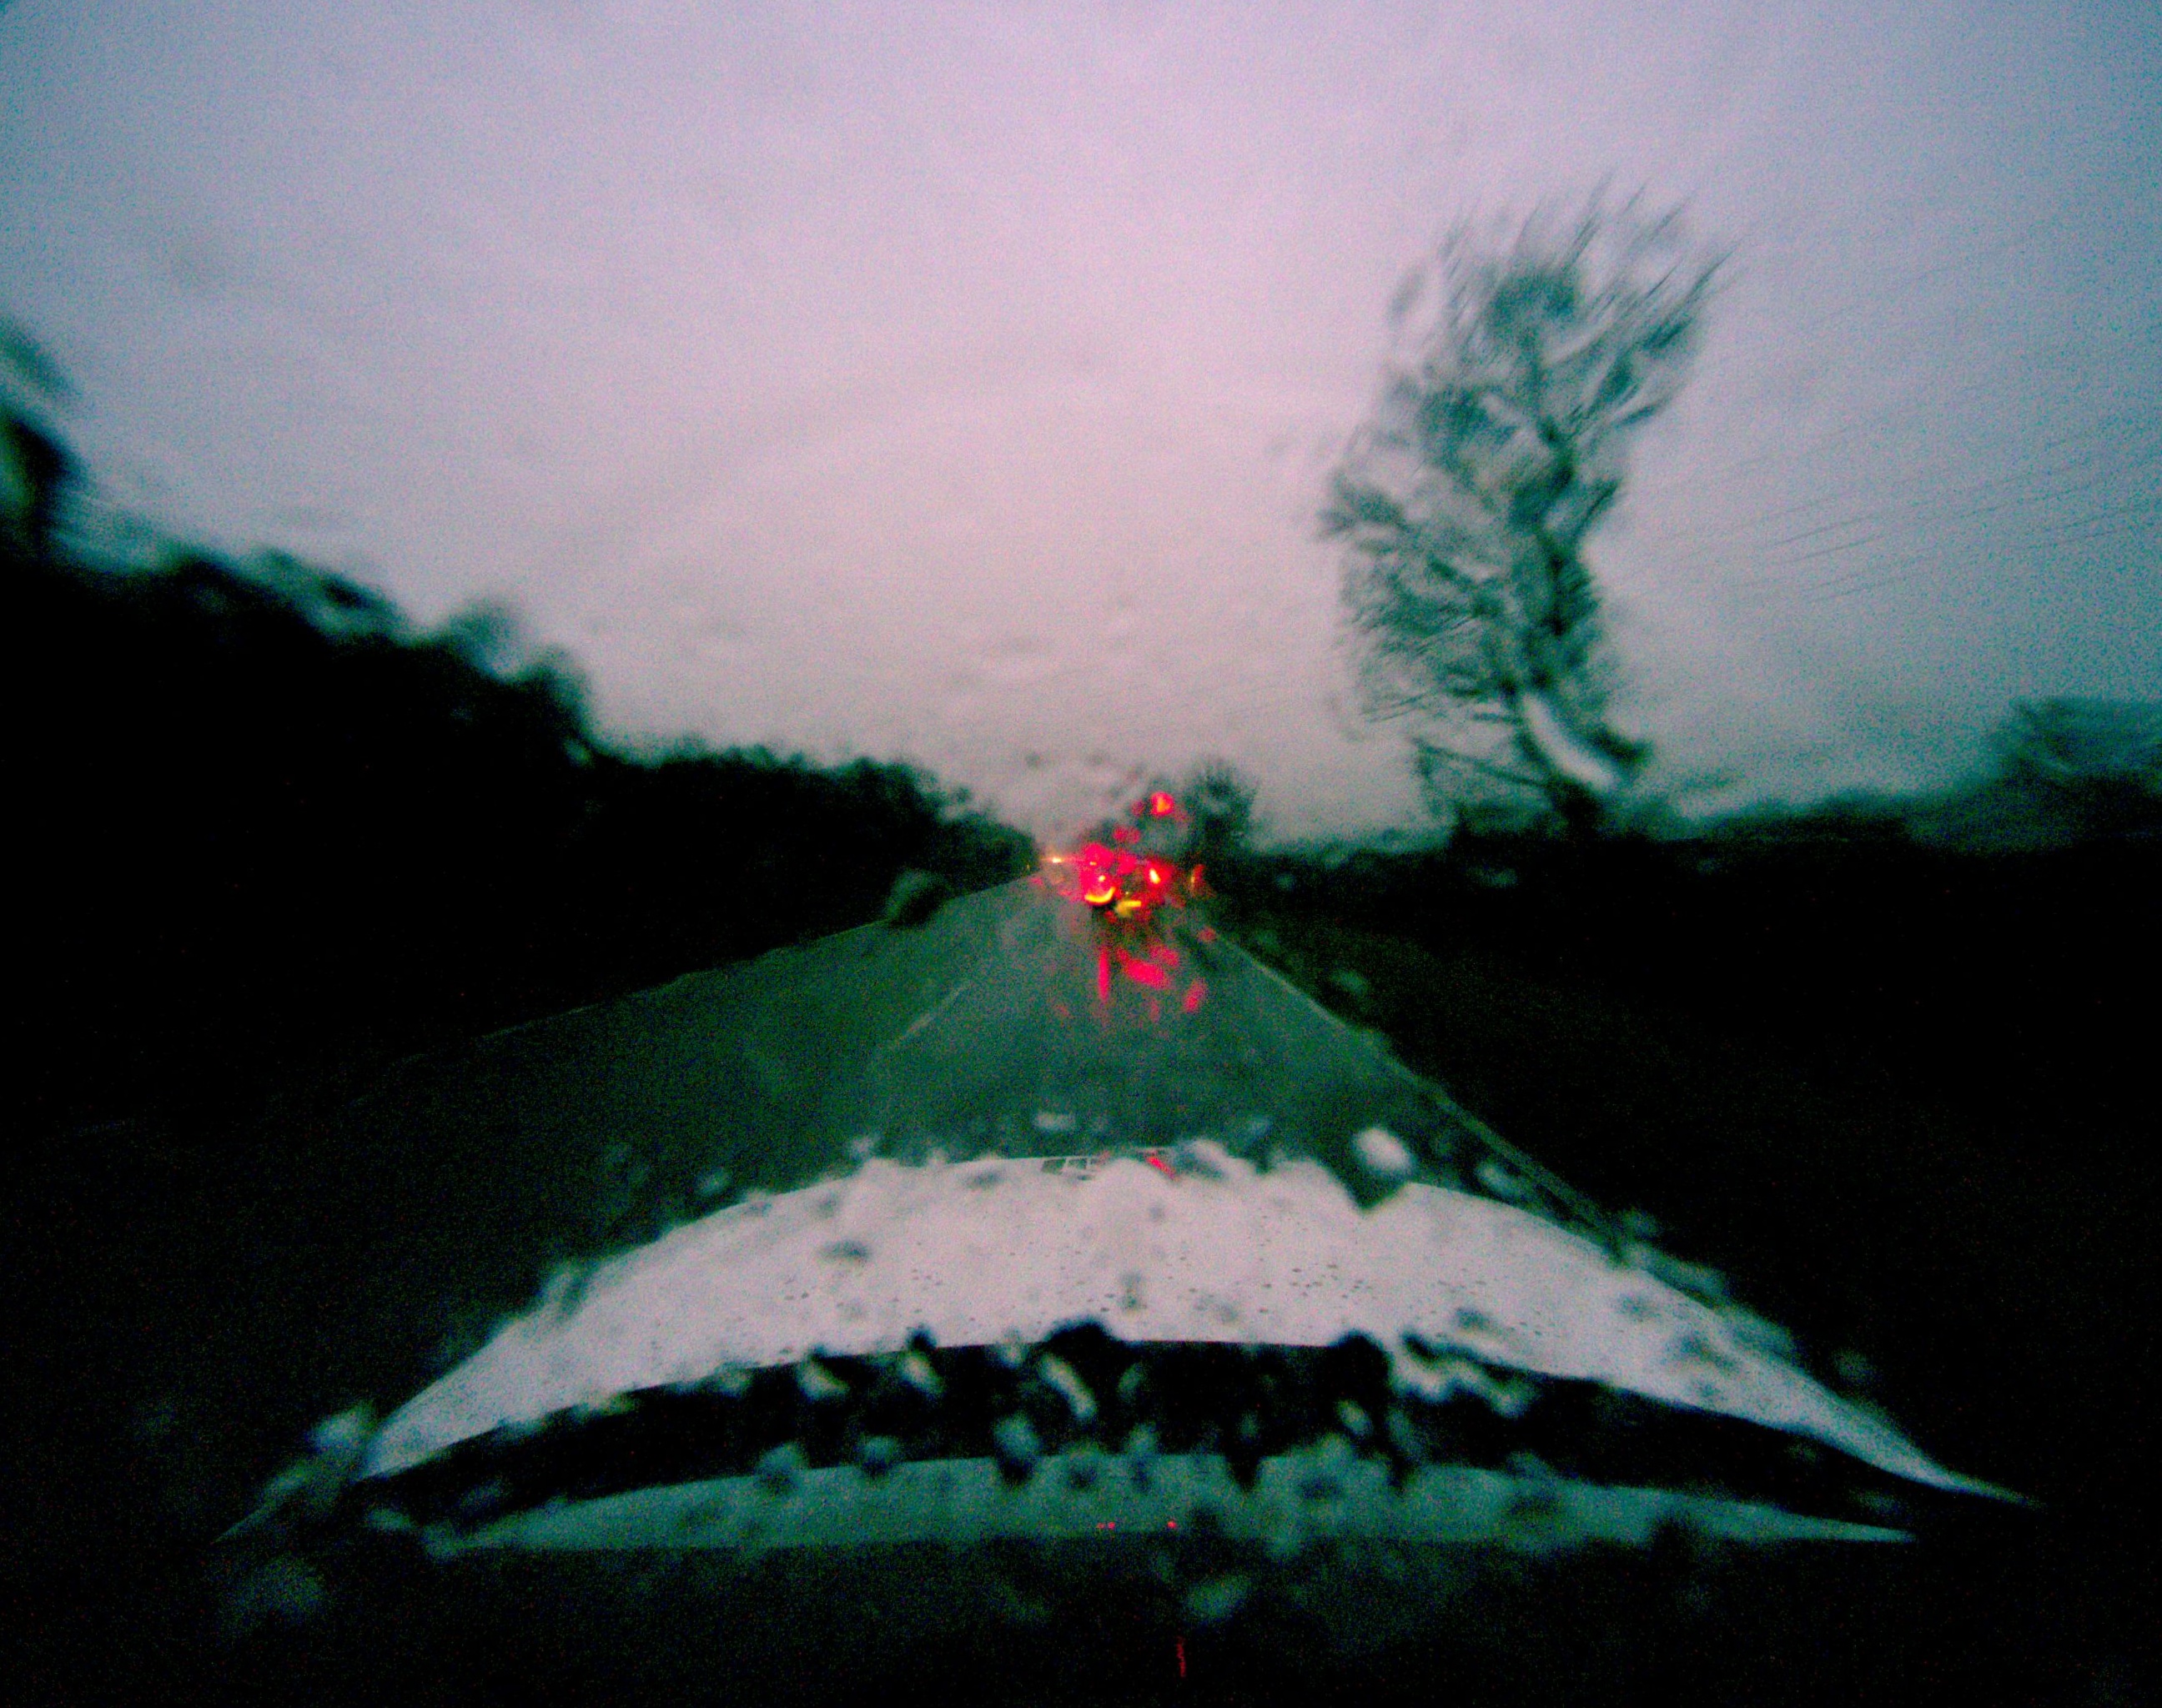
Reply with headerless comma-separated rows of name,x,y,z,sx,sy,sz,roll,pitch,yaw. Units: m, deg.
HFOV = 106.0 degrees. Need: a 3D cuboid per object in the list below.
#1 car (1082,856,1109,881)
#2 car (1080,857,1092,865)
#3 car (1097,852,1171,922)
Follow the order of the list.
car,0.901,0.851,48.278,1.541,1.396,3.871,-1,0,2
car,0.893,1.160,143.059,1.538,1.396,3.878,-1,0,8
car,1.251,0.730,19.777,1.596,1.522,3.872,-1,0,3
